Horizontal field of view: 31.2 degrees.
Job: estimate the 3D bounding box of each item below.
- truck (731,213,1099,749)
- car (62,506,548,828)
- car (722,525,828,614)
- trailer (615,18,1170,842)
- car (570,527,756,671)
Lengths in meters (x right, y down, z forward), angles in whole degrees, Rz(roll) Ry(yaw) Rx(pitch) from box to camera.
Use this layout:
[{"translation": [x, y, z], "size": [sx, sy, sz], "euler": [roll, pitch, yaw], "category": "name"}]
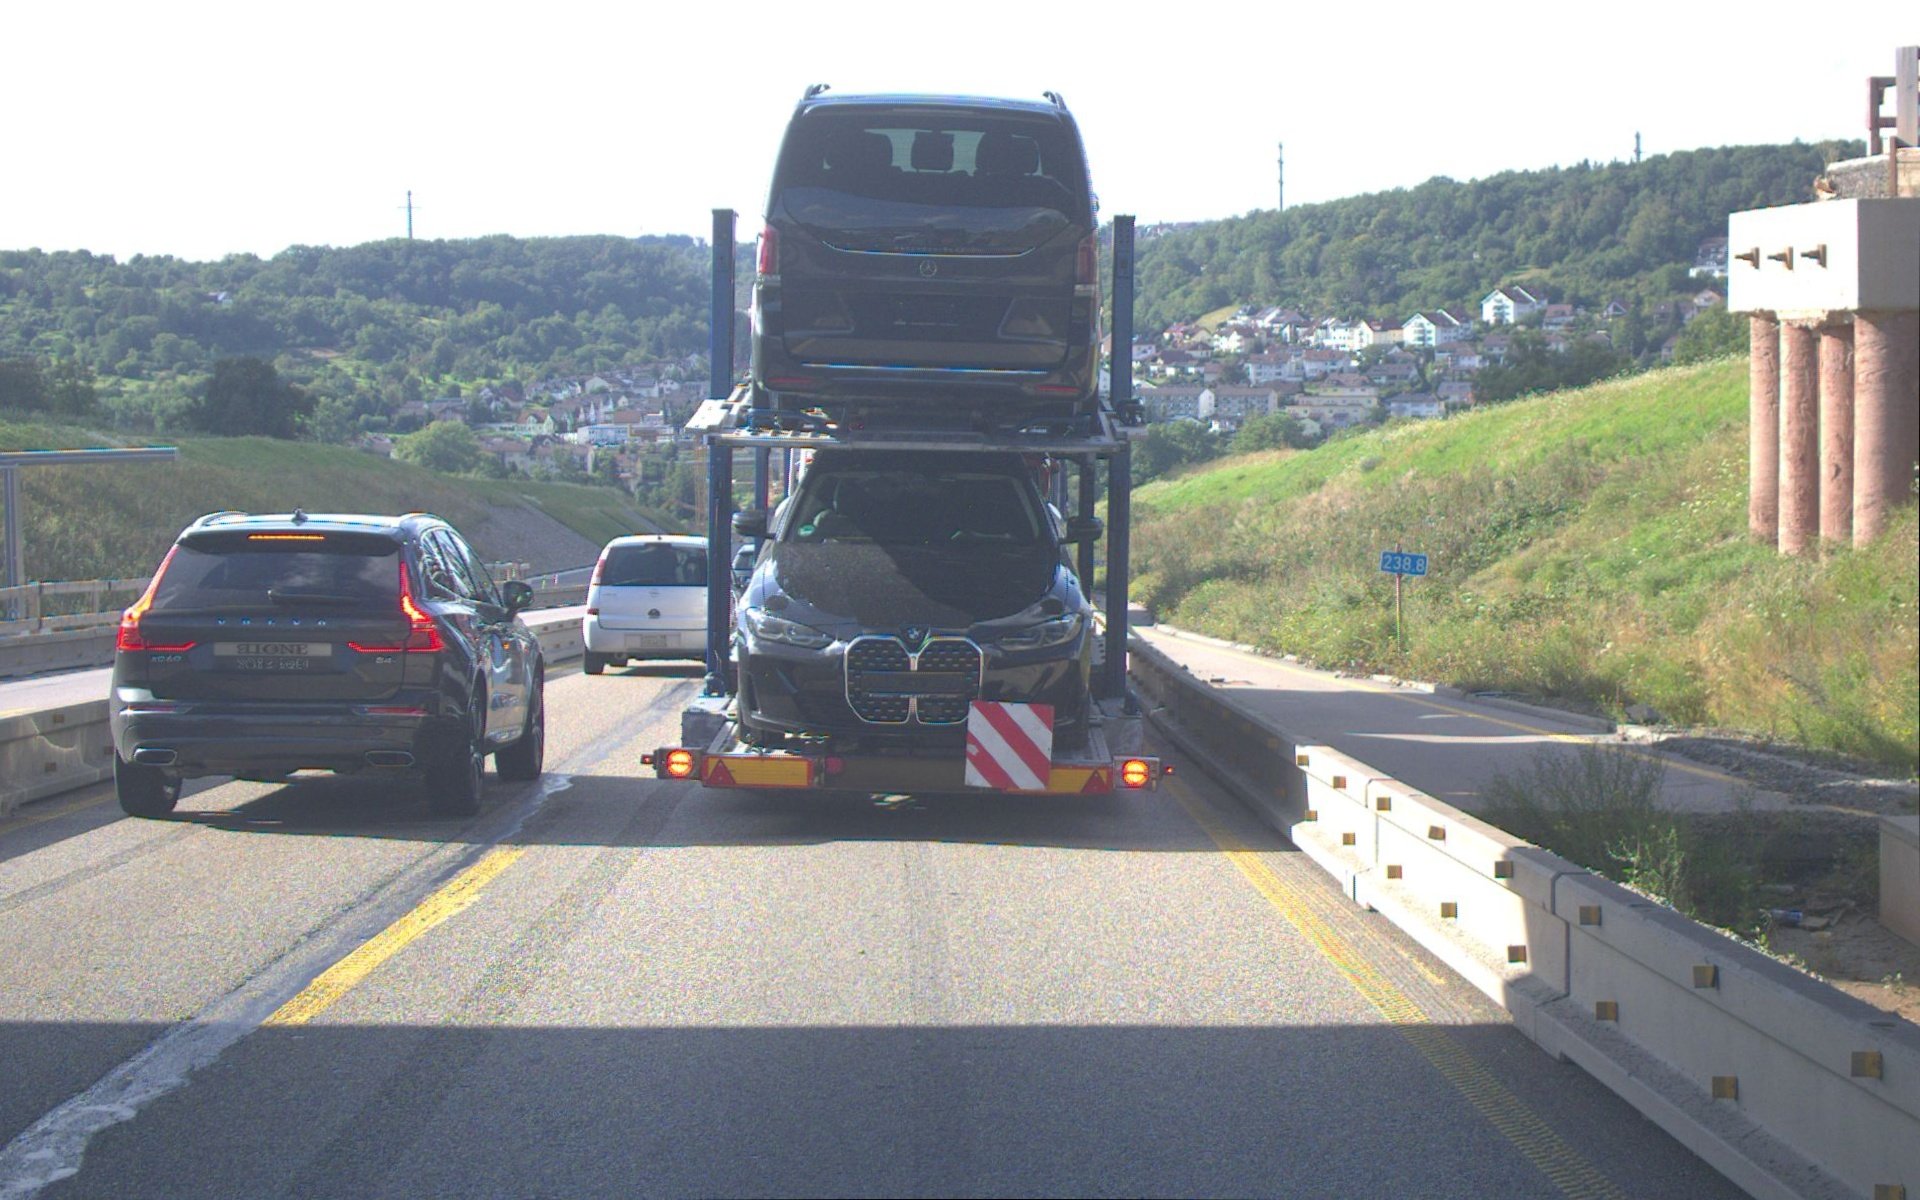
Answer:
[{"translation": [-0.290, -0.915, 28.108], "size": [2.678, 3.908, 6.027], "euler": [0, 1, 1], "category": "truck"}, {"translation": [-3.595, 0.288, 19.751], "size": [1.993, 1.619, 4.751], "euler": [0, 1, -1], "category": "car"}, {"translation": [-3.267, -0.567, 61.203], "size": [1.796, 1.525, 4.296], "euler": [0, 1, -2], "category": "car"}, {"translation": [-0.287, -0.921, 22.498], "size": [2.708, 4.015, 11.420], "euler": [0, 1, 0], "category": "trailer"}, {"translation": [-3.412, -0.056, 40.259], "size": [1.796, 1.591, 4.743], "euler": [0, 1, 0], "category": "car"}]
